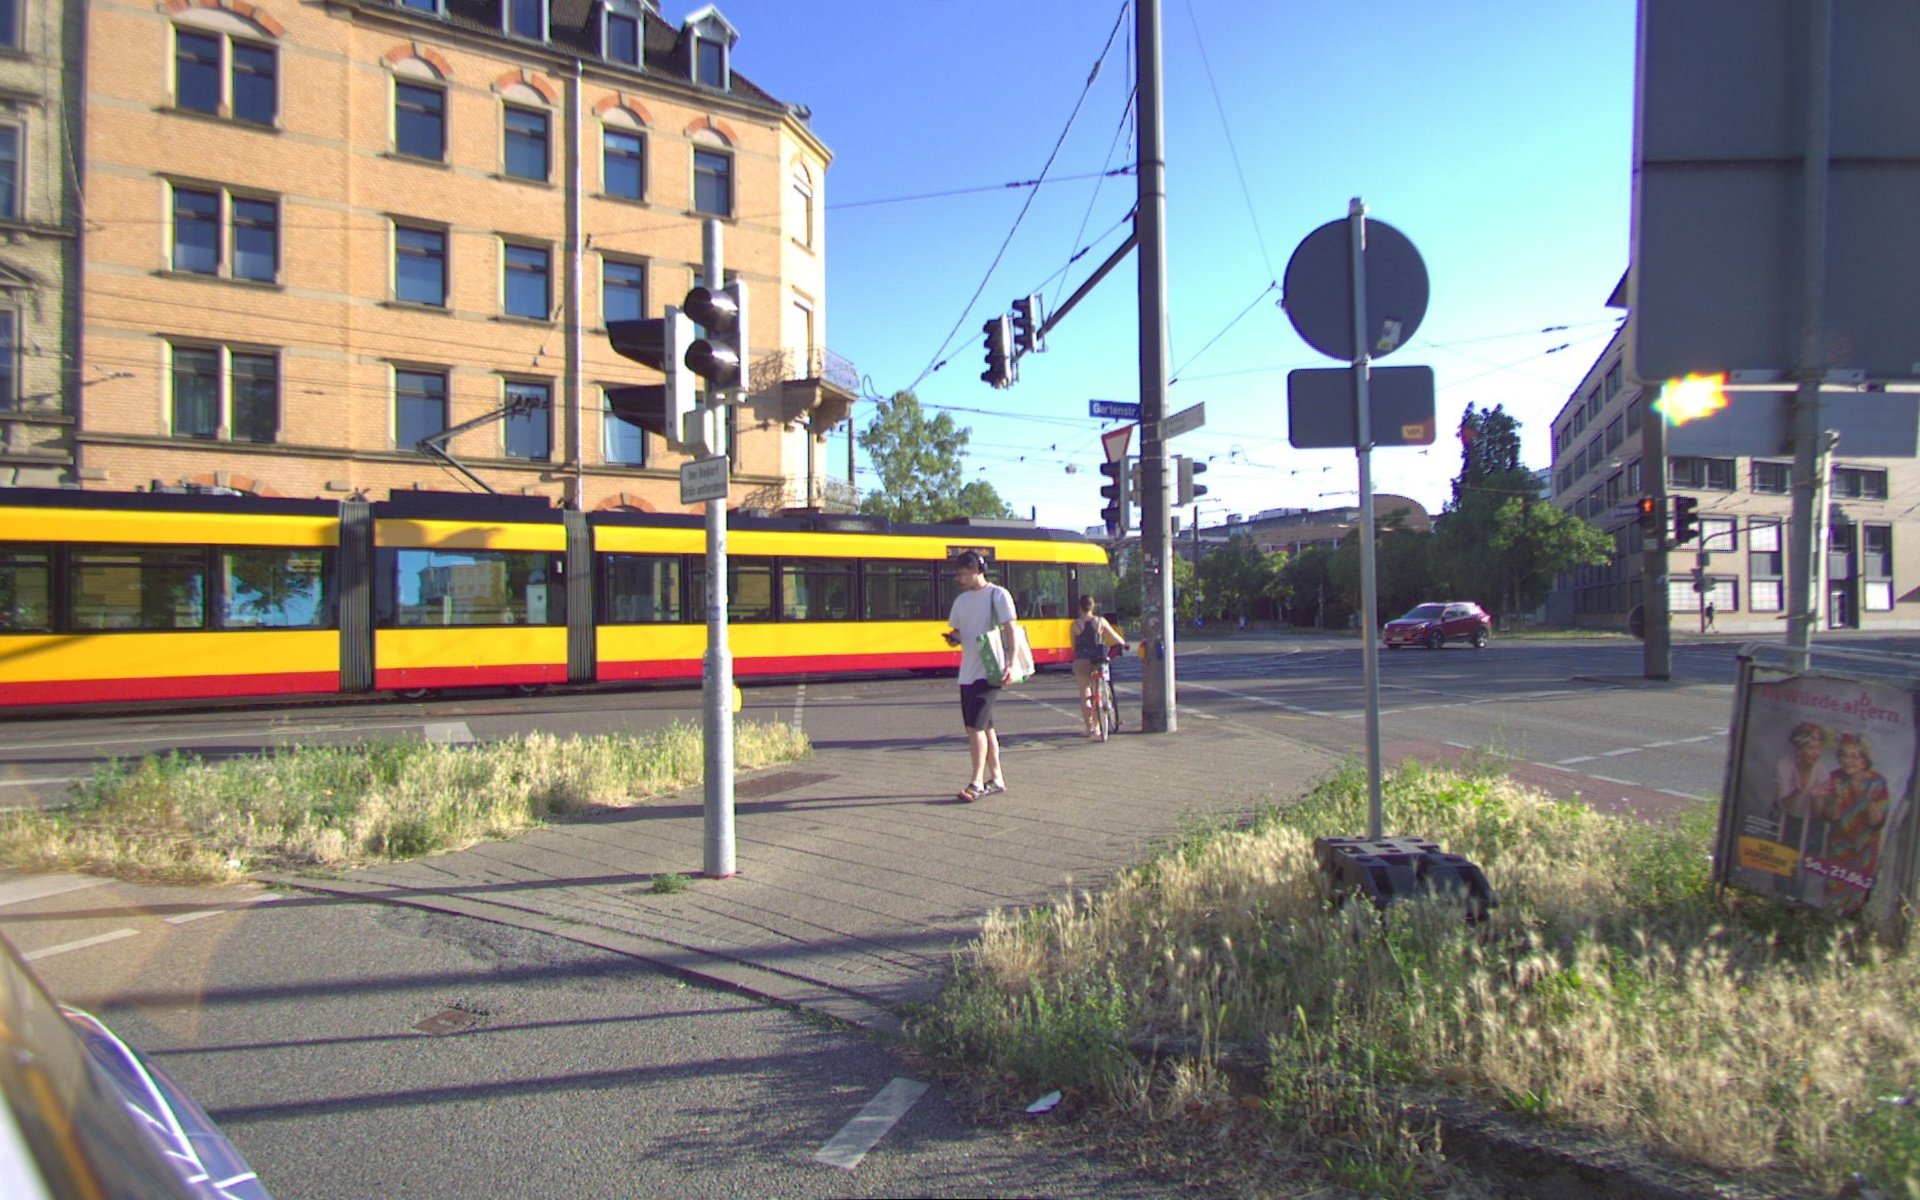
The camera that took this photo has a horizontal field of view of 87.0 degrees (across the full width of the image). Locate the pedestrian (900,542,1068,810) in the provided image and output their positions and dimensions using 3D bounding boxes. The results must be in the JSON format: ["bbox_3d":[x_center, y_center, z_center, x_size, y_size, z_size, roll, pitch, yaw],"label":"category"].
[{"bbox_3d":[0.177,0.523,7.416,0.910,1.802,0.816,-2,-2,39],"label":"pedestrian"}]

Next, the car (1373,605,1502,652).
[{"bbox_3d":[17.261,1.008,36.577,4.387,1.627,1.827,0,-2,-25],"label":"car"}]

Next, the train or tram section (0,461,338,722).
[{"bbox_3d":[-15.968,-0.085,13.665,12.791,3.534,2.878,0,-2,-30],"label":"train or tram section"}]

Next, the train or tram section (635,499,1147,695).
[{"bbox_3d":[-1.139,-0.015,22.315,11.103,3.534,2.878,0,-2,-30],"label":"train or tram section"}]

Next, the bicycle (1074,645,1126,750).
[{"bbox_3d":[1.577,1.040,11.236,0.396,1.037,1.664,-1,-2,13],"label":"bicycle"}]

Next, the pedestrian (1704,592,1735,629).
[{"bbox_3d":[42.057,0.573,56.067,0.972,2.029,0.933,0,-1,-19],"label":"pedestrian"}]

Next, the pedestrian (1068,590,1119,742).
[{"bbox_3d":[1.500,0.726,11.321,0.485,1.644,0.523,-1,-2,14],"label":"pedestrian"}]

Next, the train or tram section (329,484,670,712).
[{"bbox_3d":[-8.210,0.001,18.218,5.212,3.534,2.878,0,-2,-30],"label":"train or tram section"}]
